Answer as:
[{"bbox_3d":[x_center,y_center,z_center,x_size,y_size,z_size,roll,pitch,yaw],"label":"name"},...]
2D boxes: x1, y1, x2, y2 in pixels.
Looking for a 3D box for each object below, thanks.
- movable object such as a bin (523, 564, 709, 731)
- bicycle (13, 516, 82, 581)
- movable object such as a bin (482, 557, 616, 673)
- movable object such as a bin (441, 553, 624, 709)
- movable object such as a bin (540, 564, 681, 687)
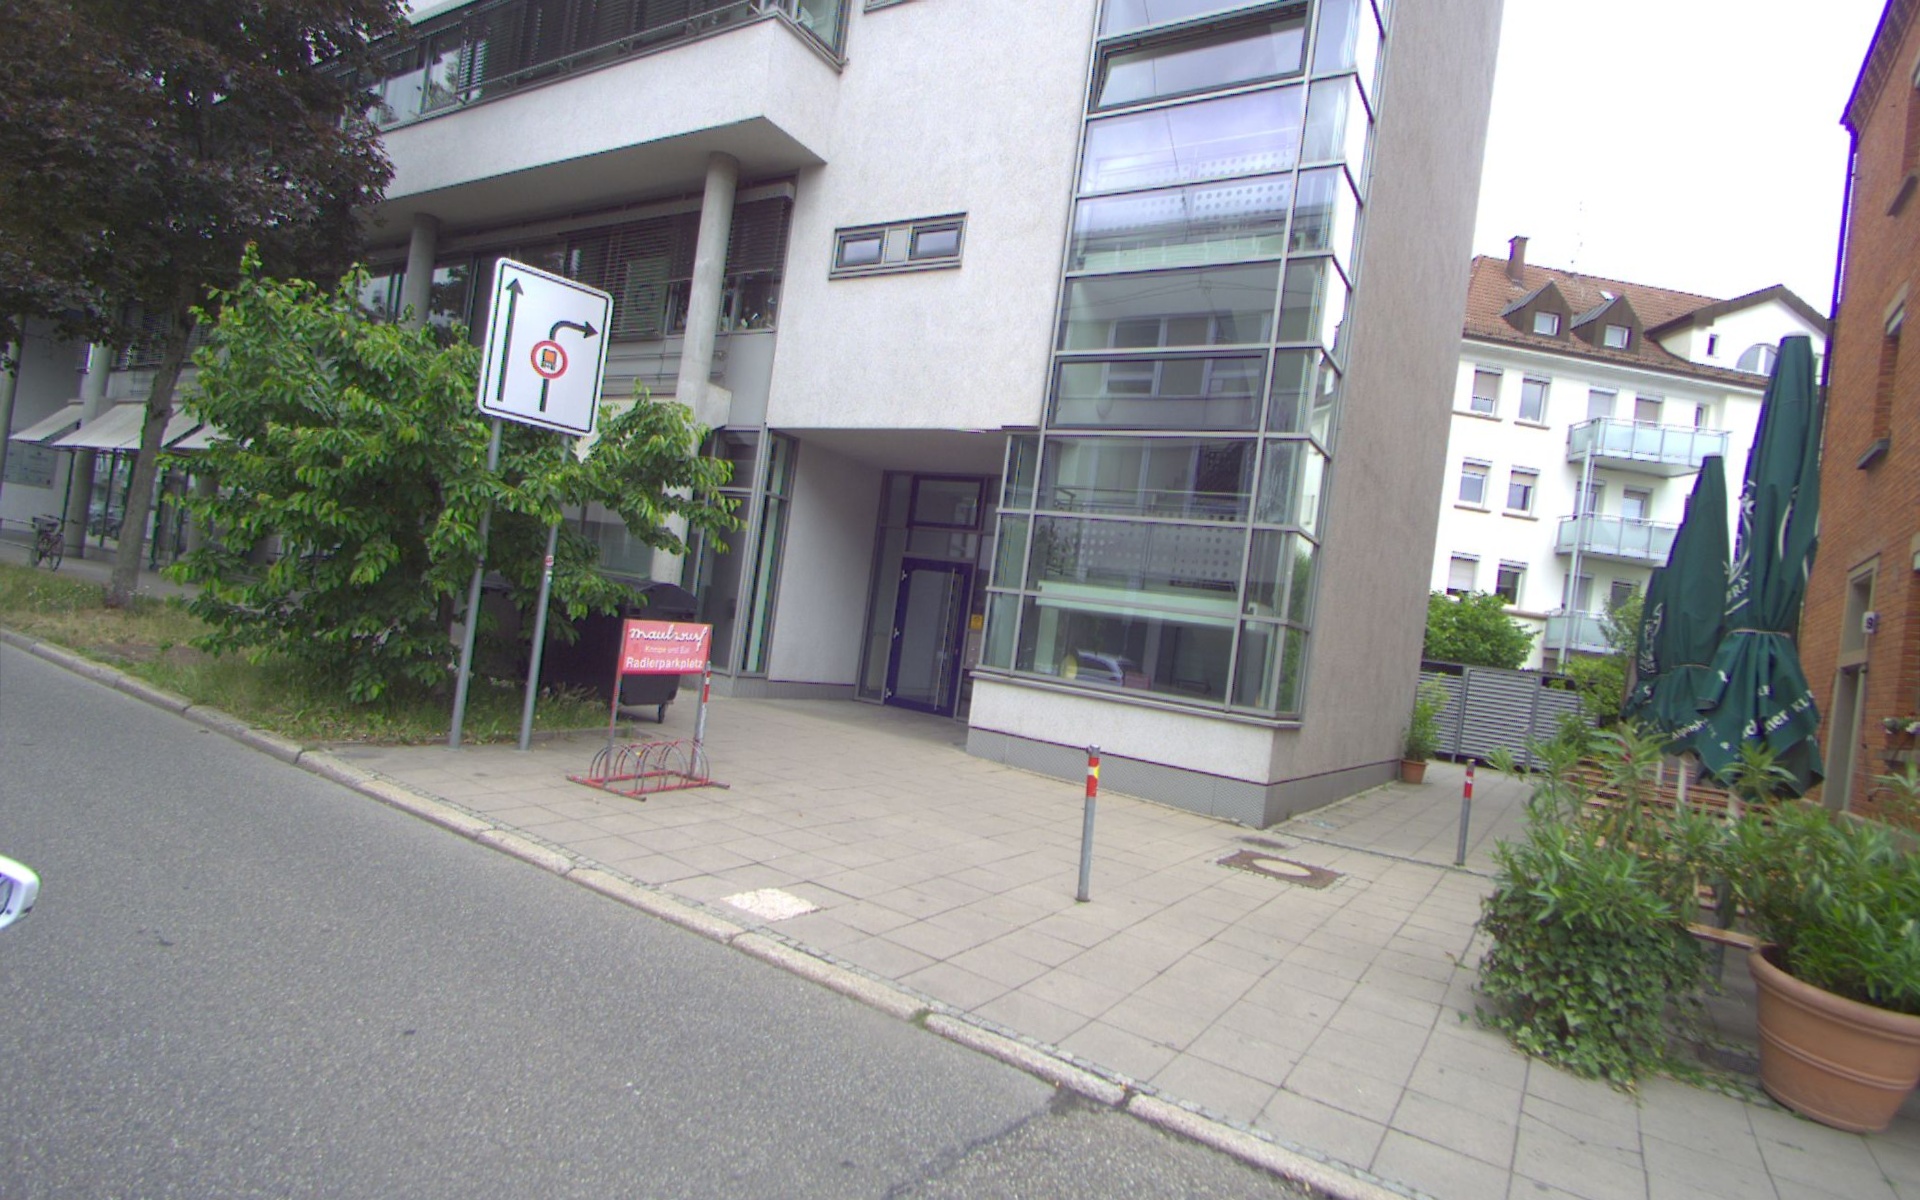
[{"bbox_3d":[-3.534,0.481,10.371,1.311,1.484,1.099,7,1,31],"label":"movable object such as a bin"},{"bbox_3d":[-18.311,-1.044,20.180,1.993,1.099,0.361,7,-2,31],"label":"bicycle"},{"bbox_3d":[-5.921,0.224,14.509,1.311,1.484,1.099,7,1,31],"label":"movable object such as a bin"},{"bbox_3d":[-4.686,0.339,11.058,1.389,1.484,1.128,7,1,31],"label":"movable object such as a bin"},{"bbox_3d":[-4.785,0.358,13.814,1.311,1.484,1.123,7,1,31],"label":"movable object such as a bin"}]
